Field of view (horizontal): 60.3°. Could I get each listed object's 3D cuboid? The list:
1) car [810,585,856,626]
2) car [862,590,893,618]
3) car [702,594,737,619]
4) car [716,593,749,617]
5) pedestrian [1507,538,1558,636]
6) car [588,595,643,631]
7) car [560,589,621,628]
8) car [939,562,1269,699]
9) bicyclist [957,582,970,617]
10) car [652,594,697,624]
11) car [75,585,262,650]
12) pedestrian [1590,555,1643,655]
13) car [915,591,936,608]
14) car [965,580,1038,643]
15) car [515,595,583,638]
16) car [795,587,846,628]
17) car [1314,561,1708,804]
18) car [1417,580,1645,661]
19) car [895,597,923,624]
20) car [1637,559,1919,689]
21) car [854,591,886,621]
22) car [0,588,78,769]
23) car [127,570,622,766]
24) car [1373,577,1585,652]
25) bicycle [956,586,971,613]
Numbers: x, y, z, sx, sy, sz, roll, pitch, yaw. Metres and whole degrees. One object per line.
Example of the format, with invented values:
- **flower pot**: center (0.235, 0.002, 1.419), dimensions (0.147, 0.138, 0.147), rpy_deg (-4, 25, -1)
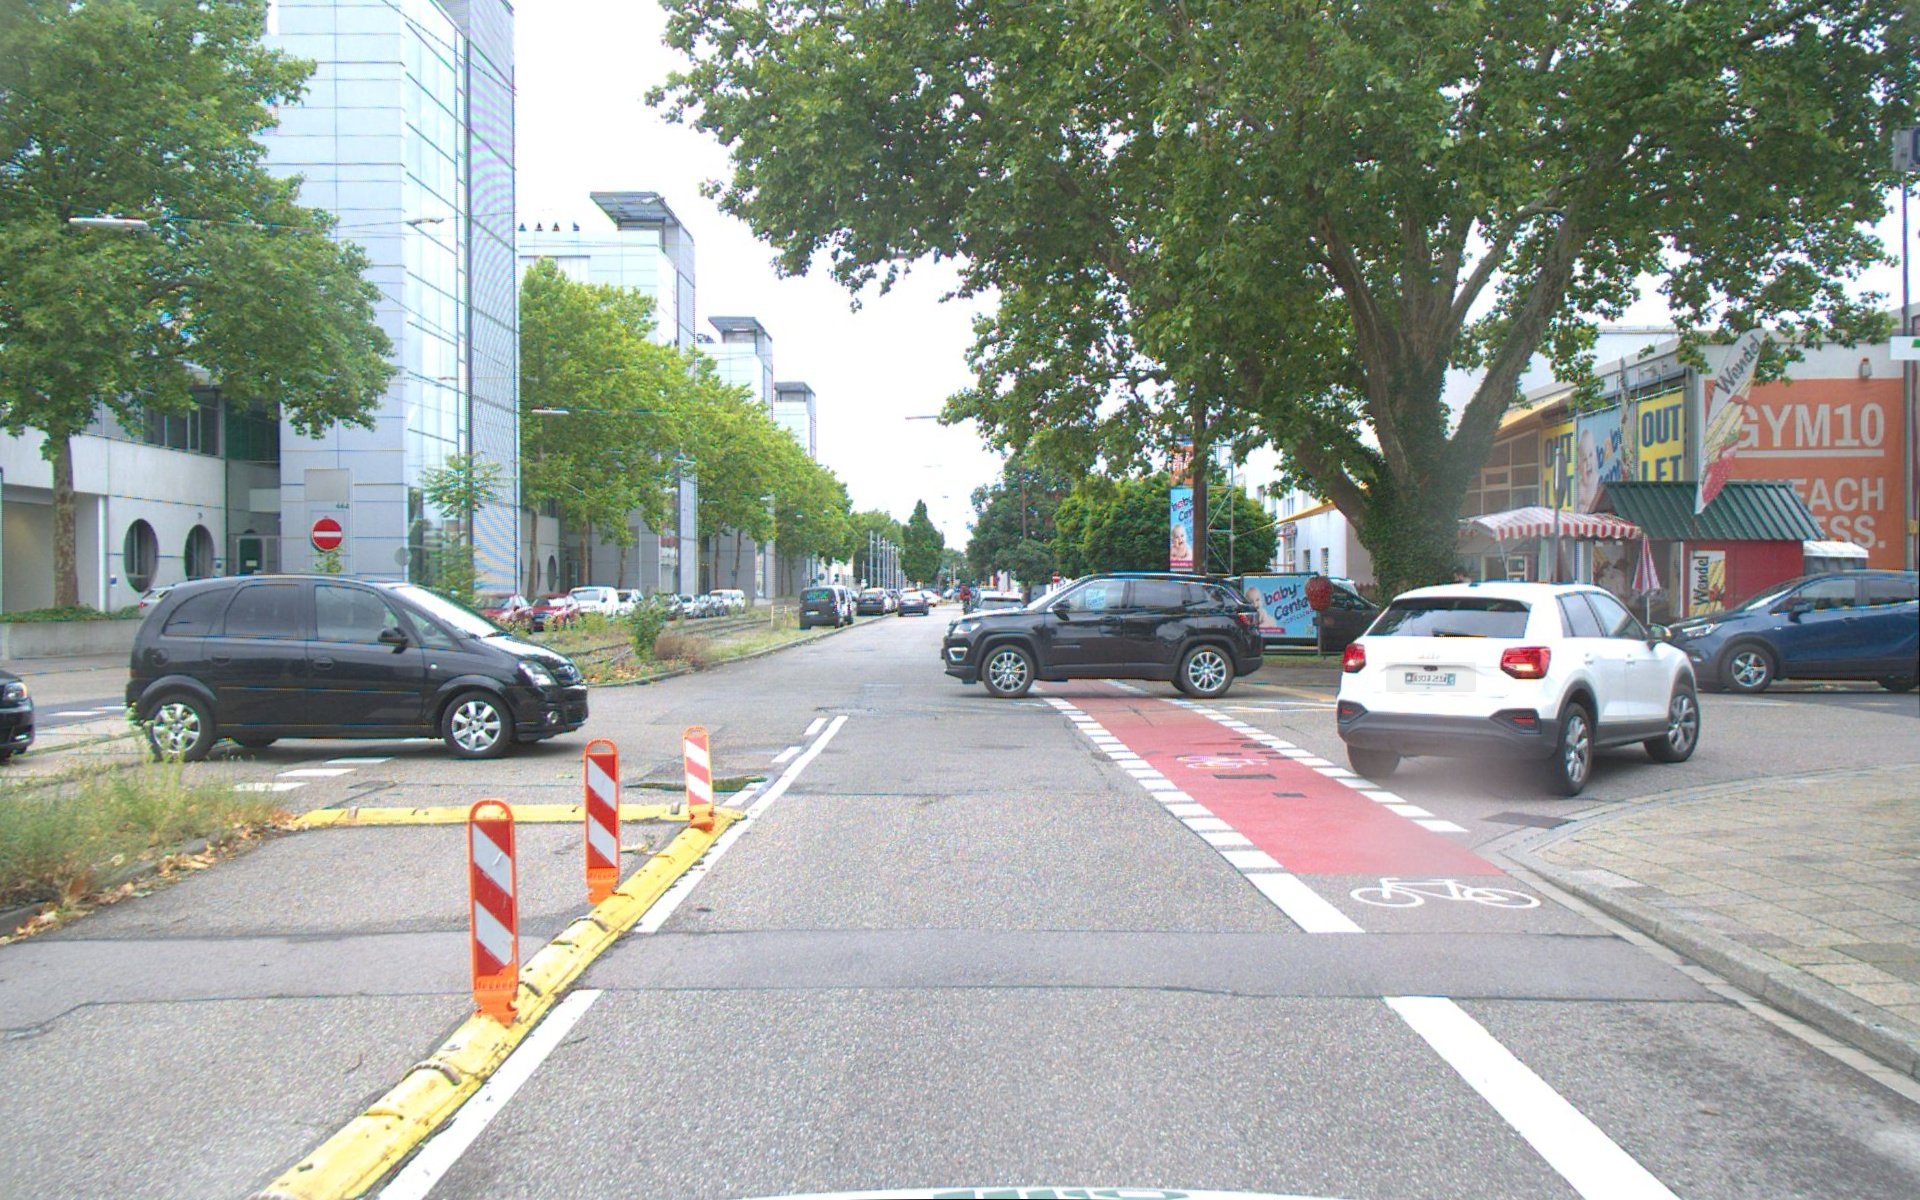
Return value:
- **car**: center (-5.767, 0.214, 75.661), dimensions (1.839, 1.794, 3.999), rpy_deg (-1, 0, -1)
- **car**: center (-5.433, 0.262, 109.278), dimensions (1.839, 1.794, 3.999), rpy_deg (-1, 0, -1)
- **car**: center (-16.545, 0.430, 113.874), dimensions (1.839, 1.661, 4.204), rpy_deg (-1, 0, -1)
- **car**: center (-16.464, 0.340, 119.737), dimensions (1.839, 1.661, 4.204), rpy_deg (-1, 0, -1)
- **pedestrian**: center (10.295, -0.238, 29.751), dimensions (0.665, 1.734, 0.598), rpy_deg (-1, 0, -2)
- **car**: center (-16.686, 0.625, 80.253), dimensions (1.839, 1.661, 4.204), rpy_deg (-1, 0, -1)
- **car**: center (-16.631, 0.347, 74.620), dimensions (1.839, 1.661, 4.204), rpy_deg (-1, 0, -1)
- **car**: center (1.865, 0.386, 22.289), dimensions (4.225, 1.706, 1.993), rpy_deg (-1, 0, 0)
- **bicyclist**: center (0.181, -0.026, 90.263), dimensions (0.657, 1.847, 0.759), rpy_deg (1, 0, -3)
- **car**: center (-16.161, 0.483, 93.708), dimensions (1.839, 1.661, 4.204), rpy_deg (-1, 0, -1)
- **car**: center (-22.700, 0.499, 47.570), dimensions (4.421, 1.699, 1.824), rpy_deg (1, 0, -3)
- **pedestrian**: center (11.635, 0.088, 29.311), dimensions (0.665, 1.734, 0.598), rpy_deg (-1, 0, -2)
- **car**: center (-3.150, -0.069, 151.121), dimensions (1.759, 1.540, 3.704), rpy_deg (1, 1, -3)
- **car**: center (1.122, 0.297, 46.207), dimensions (1.839, 1.661, 3.999), rpy_deg (-1, 0, -1)
- **car**: center (-16.886, 0.648, 68.059), dimensions (1.839, 1.661, 3.999), rpy_deg (-1, 0, -1)
- **car**: center (-5.849, 0.308, 69.844), dimensions (1.839, 1.661, 3.999), rpy_deg (-1, 0, -1)
- **car**: center (4.566, 0.524, 13.414), dimensions (1.796, 1.628, 3.756), rpy_deg (2, 3, 40)
- **car**: center (11.879, 0.413, 34.547), dimensions (4.128, 1.579, 1.789), rpy_deg (-1, 0, -3)
- **car**: center (-3.149, 0.628, 101.456), dimensions (1.650, 1.540, 3.704), rpy_deg (1, 1, -3)
- **car**: center (11.843, 0.316, 22.972), dimensions (4.123, 1.706, 1.994), rpy_deg (-1, 0, 8)
- **car**: center (-5.628, 0.355, 104.064), dimensions (1.839, 1.794, 3.999), rpy_deg (-1, 0, -1)
- **car**: center (-9.873, 0.719, 14.418), dimensions (4.035, 1.501, 1.824), rpy_deg (-2, -2, 25)
- **car**: center (-5.193, 0.584, 15.063), dimensions (3.804, 1.583, 1.825), rpy_deg (1, 0, 0)
- **car**: center (11.468, 0.306, 36.692), dimensions (4.128, 1.579, 1.789), rpy_deg (-1, 0, -3)
- **bicycle**: center (0.193, -0.026, 90.082), dimensions (0.657, 1.418, 2.166), rpy_deg (1, 1, -3)
